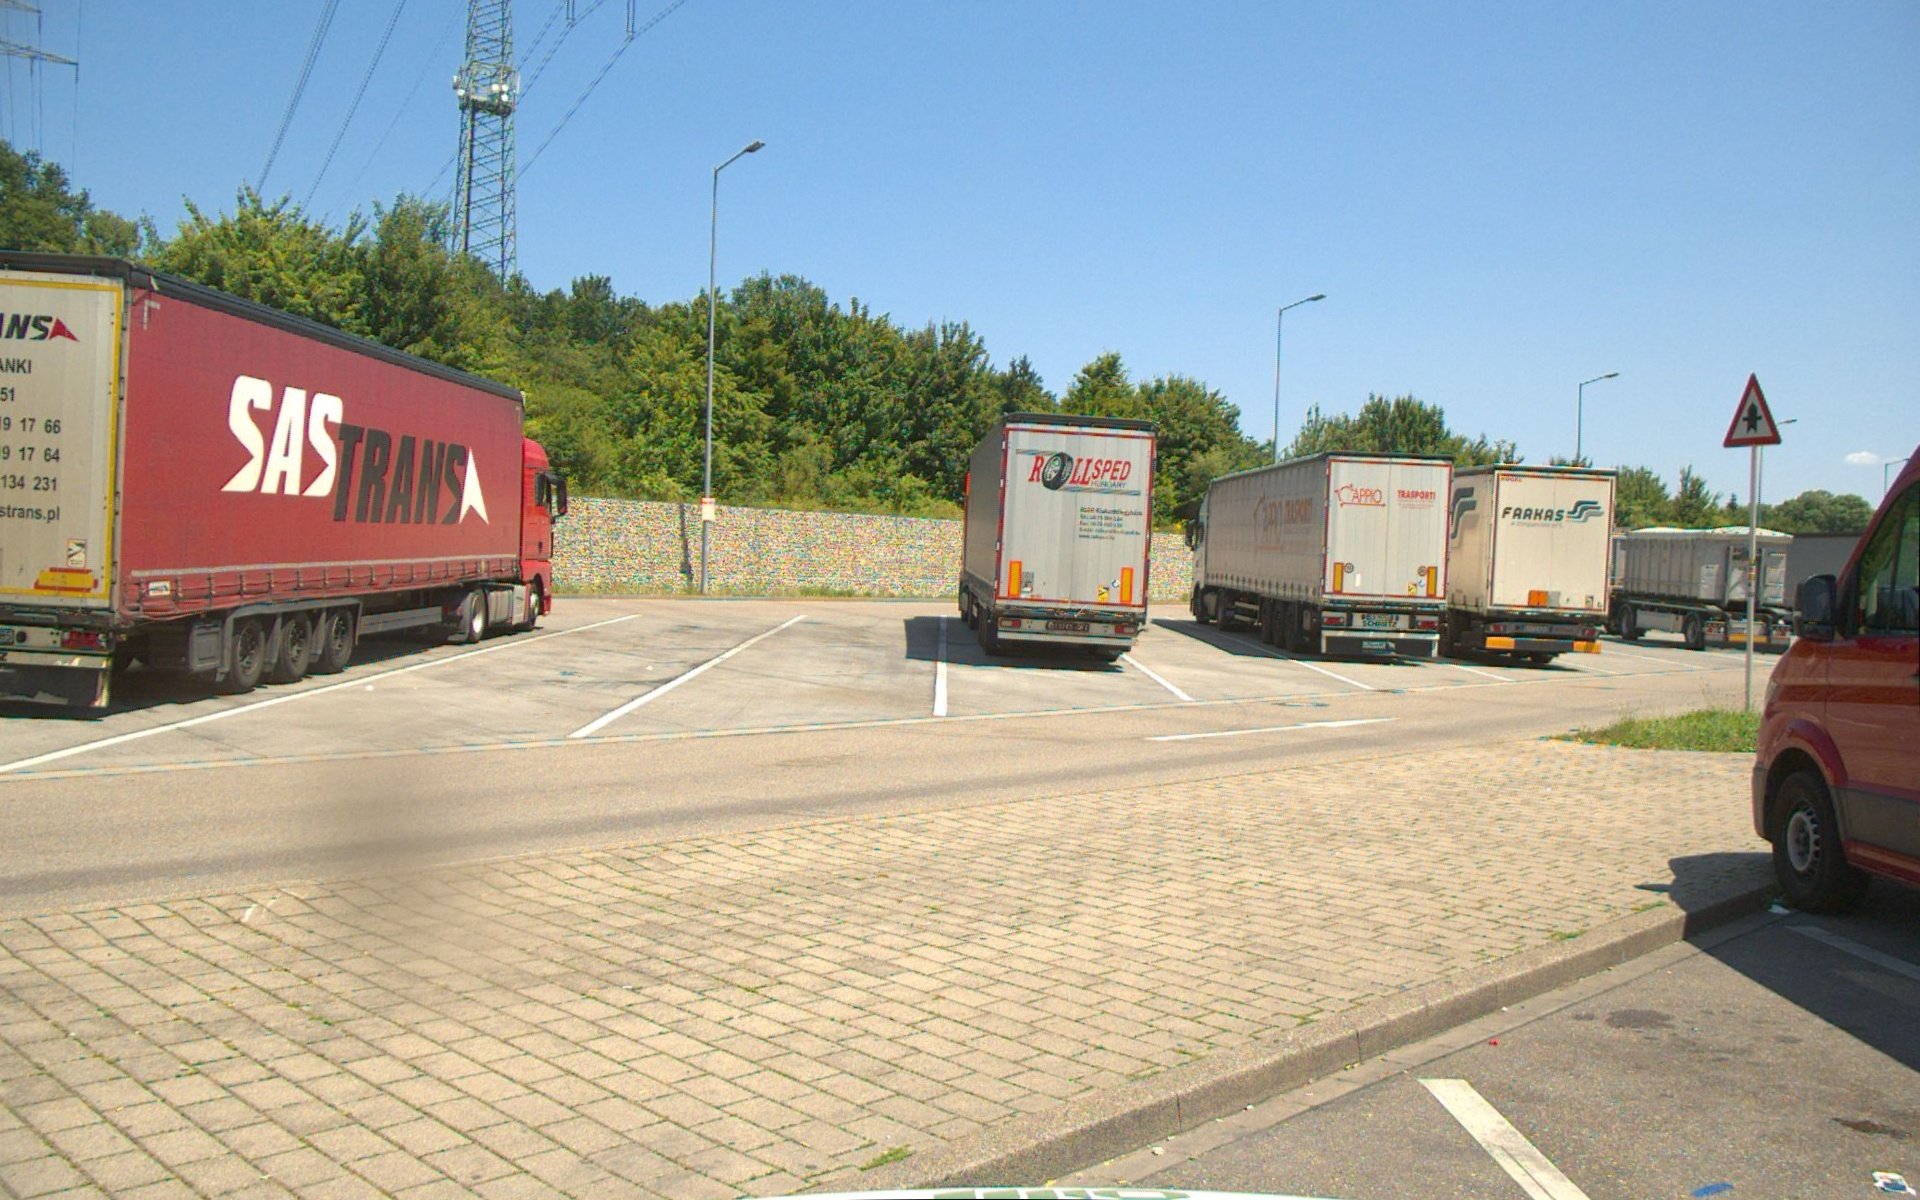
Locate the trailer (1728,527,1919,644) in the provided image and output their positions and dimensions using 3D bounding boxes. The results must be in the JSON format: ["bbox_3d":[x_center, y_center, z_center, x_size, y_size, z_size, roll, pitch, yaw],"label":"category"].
[{"bbox_3d":[34.941,-0.664,65.406,2.780,4.119,13.726,3,2,1],"label":"trailer"}]

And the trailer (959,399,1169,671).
[{"bbox_3d":[1.652,-1.251,33.232,2.848,4.204,13.720,2,2,-2],"label":"trailer"}]

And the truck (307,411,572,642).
[{"bbox_3d":[-8.790,-1.229,28.614,2.794,3.487,5.482,3,2,-1],"label":"truck"}]

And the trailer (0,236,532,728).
[{"bbox_3d":[-8.676,-1.315,21.179,2.848,4.203,13.723,2,2,-1],"label":"trailer"}]

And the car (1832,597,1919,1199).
[{"bbox_3d":[2.601,0.800,1.149,1.703,1.508,3.813,1,1,-6],"label":"car"}]

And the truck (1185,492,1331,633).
[{"bbox_3d":[8.098,-1.062,45.631,2.794,3.544,5.482,3,2,-1],"label":"truck"}]

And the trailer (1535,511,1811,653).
[{"bbox_3d":[21.929,-0.704,52.201,2.780,3.781,13.726,3,2,1],"label":"trailer"}]

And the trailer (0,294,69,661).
[{"bbox_3d":[-12.521,-1.326,15.696,2.673,4.282,10.170,2,2,-1],"label":"trailer"}]

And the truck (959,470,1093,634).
[{"bbox_3d":[1.484,-1.167,39.841,2.794,3.544,5.482,3,2,-1],"label":"truck"}]

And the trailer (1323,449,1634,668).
[{"bbox_3d":[11.772,-1.035,39.626,2.781,4.204,13.722,2,2,-1],"label":"trailer"}]

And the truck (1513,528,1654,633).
[{"bbox_3d":[22.010,-0.739,58.705,2.794,3.423,5.484,3,2,0],"label":"truck"}]

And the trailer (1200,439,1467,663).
[{"bbox_3d":[8.213,-1.157,38.821,2.781,4.204,13.722,2,2,-1],"label":"trailer"}]

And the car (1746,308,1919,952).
[{"bbox_3d":[5.013,0.165,5.553,2.023,2.742,6.397,1,1,4],"label":"car"}]
